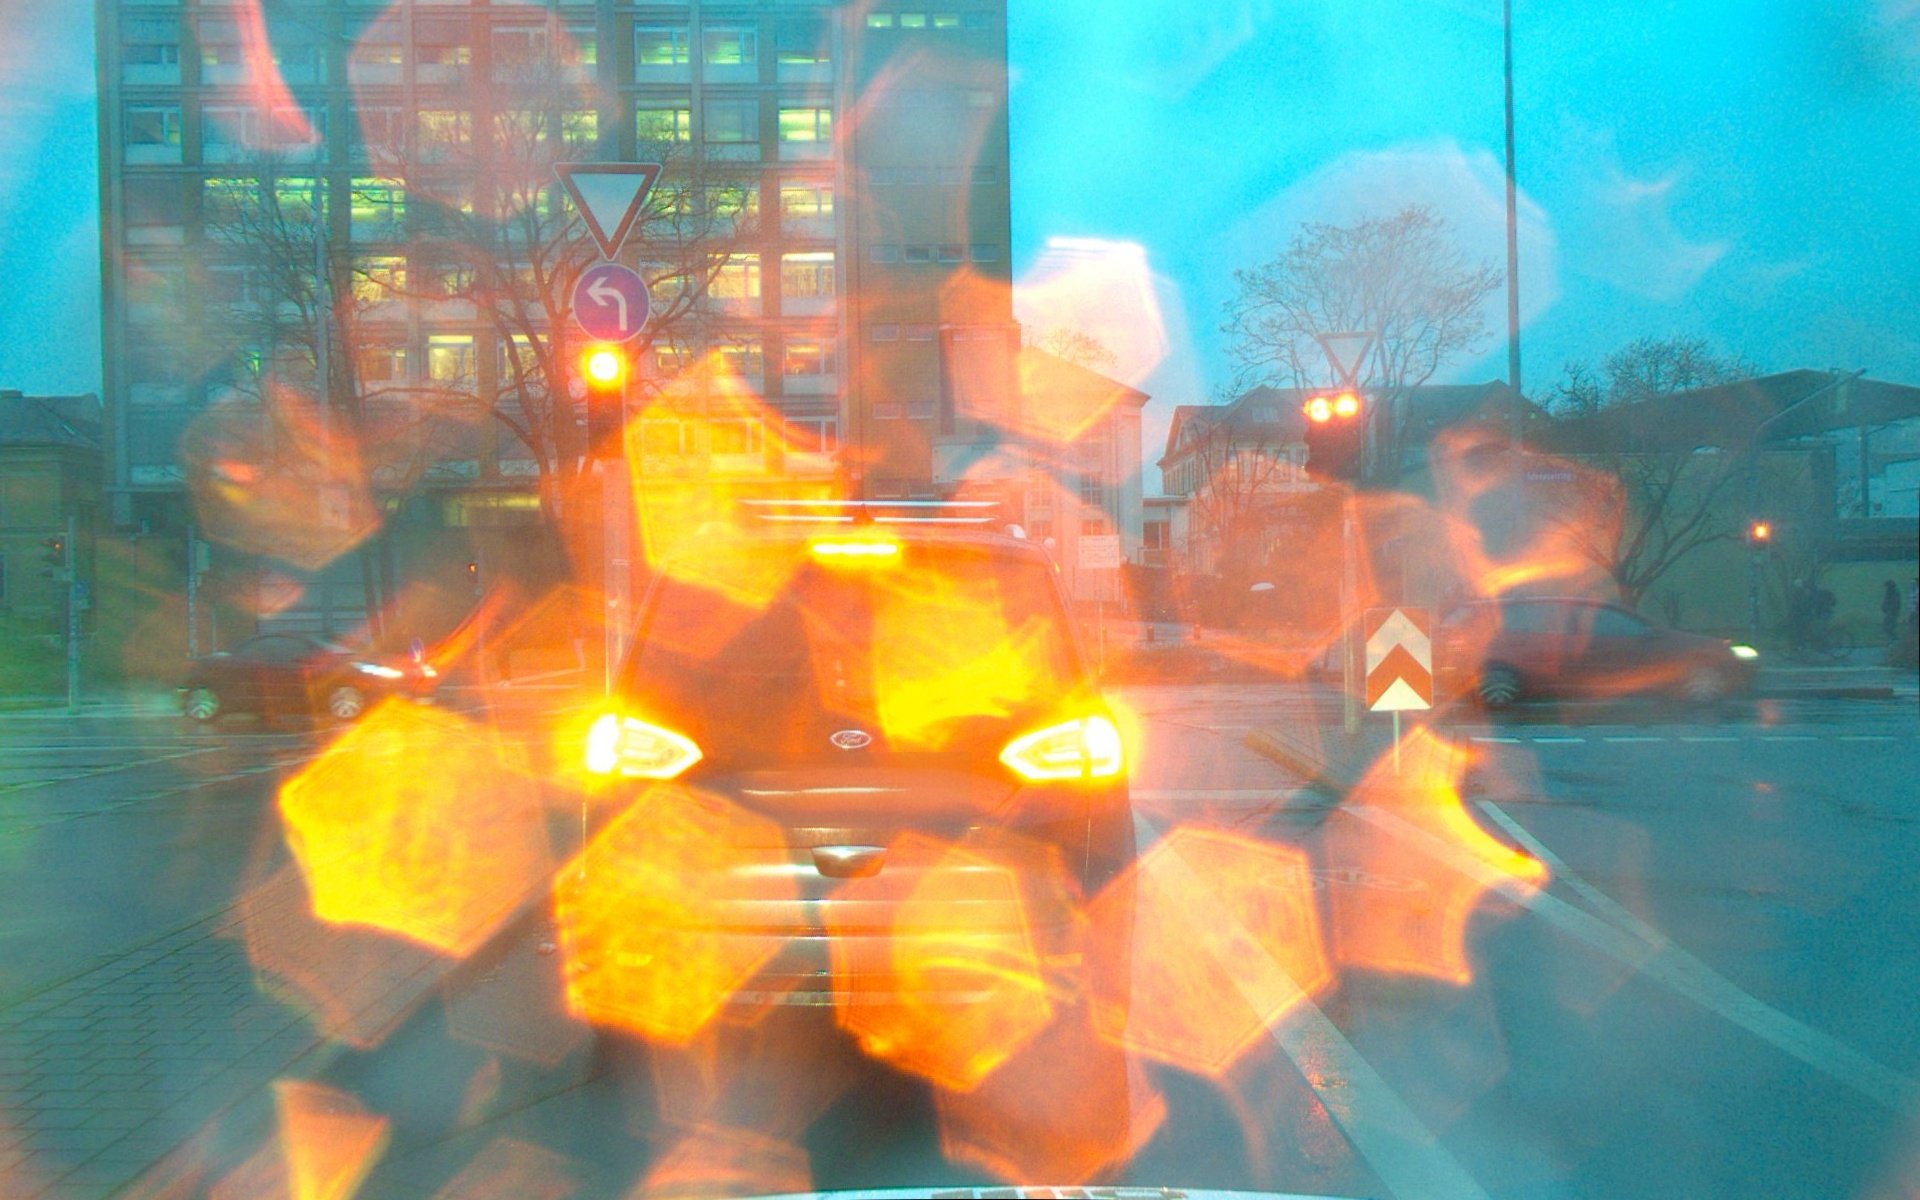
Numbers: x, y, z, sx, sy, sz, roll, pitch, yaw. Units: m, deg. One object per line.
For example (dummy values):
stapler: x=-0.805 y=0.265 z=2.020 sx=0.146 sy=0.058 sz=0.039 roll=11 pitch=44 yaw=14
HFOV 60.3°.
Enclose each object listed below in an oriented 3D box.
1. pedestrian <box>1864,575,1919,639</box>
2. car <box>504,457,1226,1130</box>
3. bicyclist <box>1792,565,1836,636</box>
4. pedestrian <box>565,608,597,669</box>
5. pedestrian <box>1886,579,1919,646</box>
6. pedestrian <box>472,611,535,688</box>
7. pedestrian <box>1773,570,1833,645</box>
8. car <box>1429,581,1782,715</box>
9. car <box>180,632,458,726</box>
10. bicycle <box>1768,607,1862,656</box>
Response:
pedestrian: x=23.209 y=0.164 z=41.180 sx=0.875 sy=1.559 sz=0.886 roll=-2 pitch=0 yaw=0
car: x=-0.282 y=0.542 z=6.544 sx=1.953 sy=1.821 sz=3.999 roll=1 pitch=0 yaw=-1
bicyclist: x=20.136 y=0.004 z=38.999 sx=0.670 sy=1.627 sz=0.660 roll=-2 pitch=0 yaw=4
pedestrian: x=-10.907 y=1.115 z=47.566 sx=0.625 sy=1.718 sz=0.637 roll=-2 pitch=0 yaw=16
pedestrian: x=23.244 y=0.291 z=40.148 sx=0.905 sy=1.559 sz=1.043 roll=-2 pitch=0 yaw=0
pedestrian: x=-11.760 y=1.270 z=42.613 sx=0.981 sy=1.874 sz=1.139 roll=-2 pitch=2 yaw=22
pedestrian: x=20.956 y=0.180 z=41.143 sx=0.976 sy=1.831 sz=0.919 roll=-2 pitch=0 yaw=0
car: x=8.481 y=0.628 z=22.072 sx=4.036 sy=1.610 sz=1.843 roll=-2 pitch=-1 yaw=9
car: x=-9.919 y=1.219 z=25.686 sx=3.674 sy=1.324 sz=1.702 roll=-2 pitch=-1 yaw=13
bicycle: x=20.147 y=0.745 z=39.007 sx=1.843 sy=1.066 sz=0.660 roll=-2 pitch=0 yaw=4
